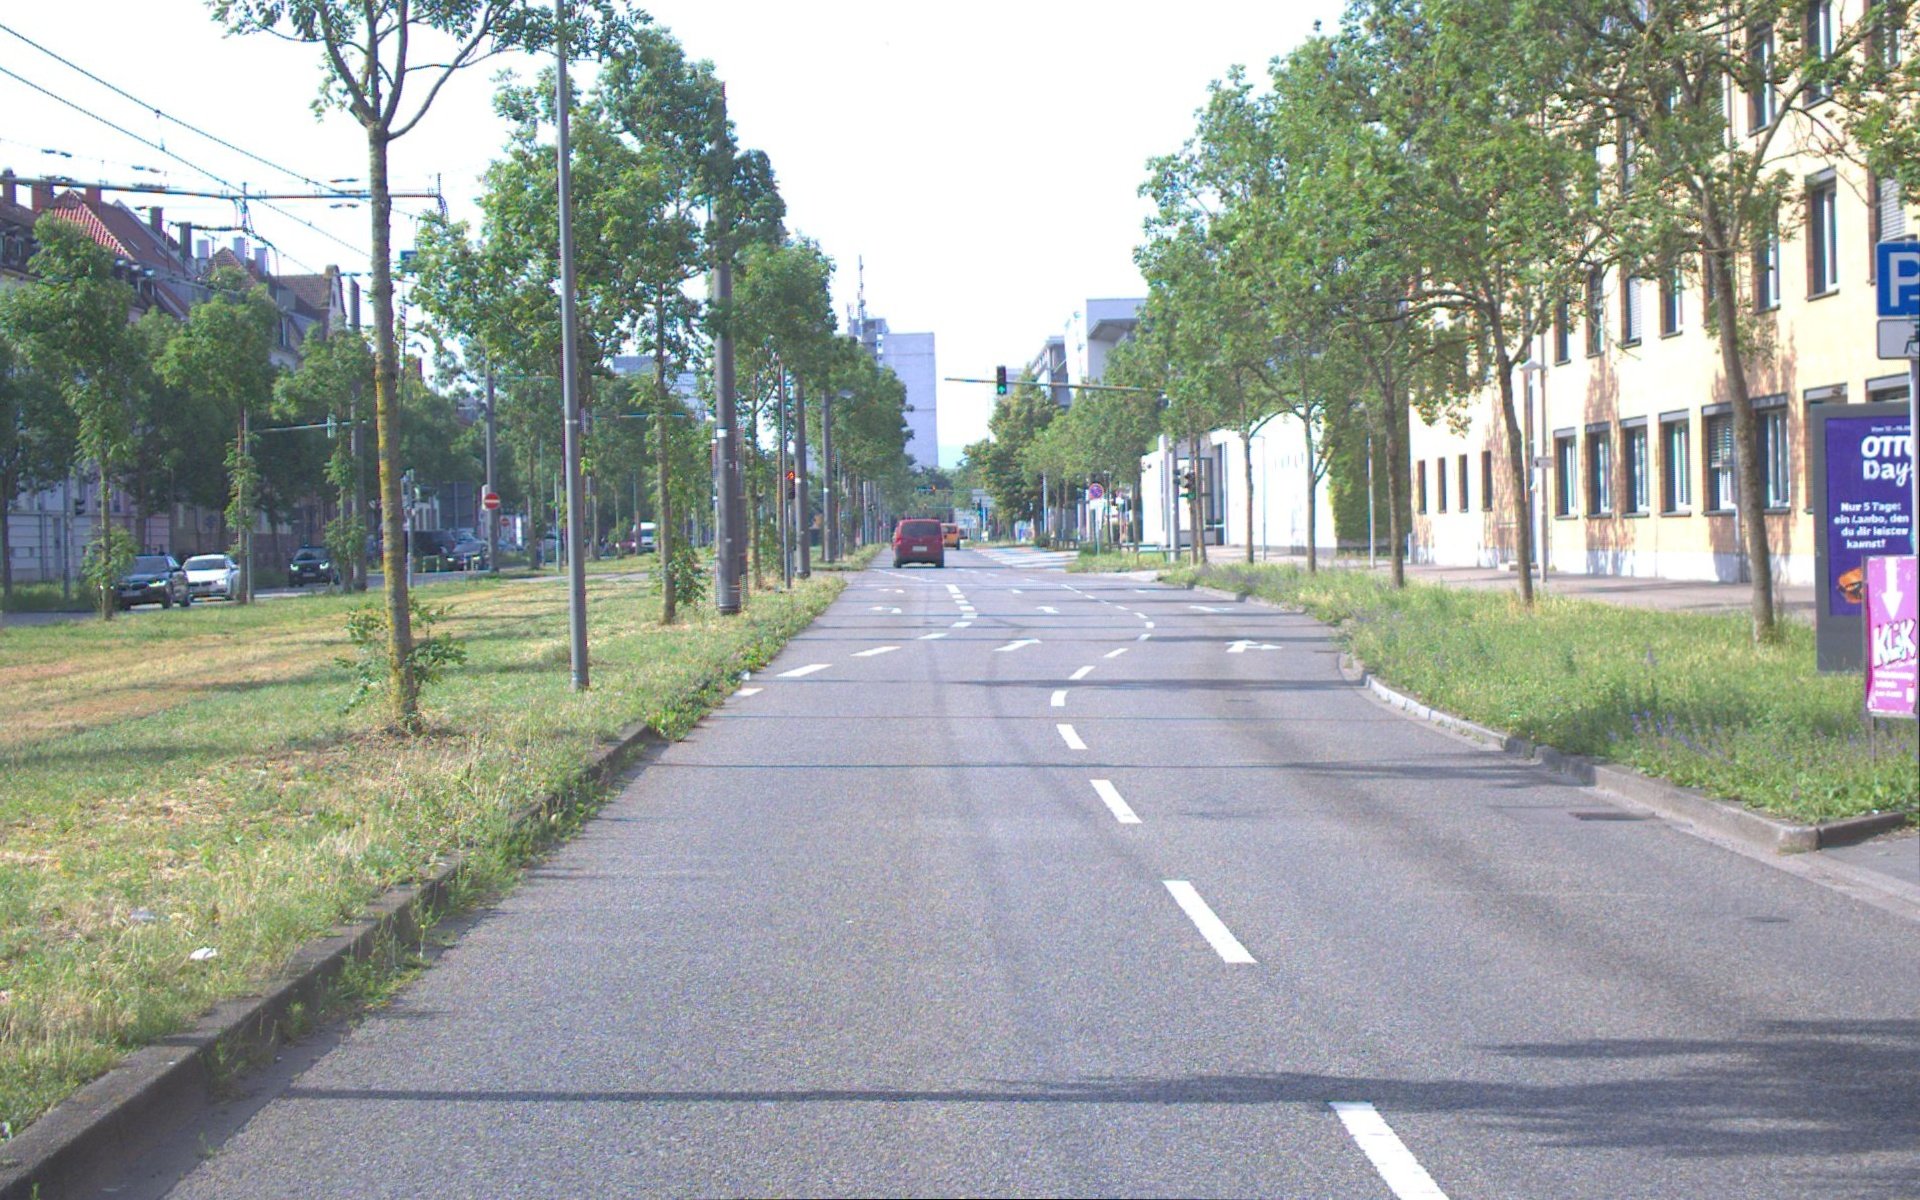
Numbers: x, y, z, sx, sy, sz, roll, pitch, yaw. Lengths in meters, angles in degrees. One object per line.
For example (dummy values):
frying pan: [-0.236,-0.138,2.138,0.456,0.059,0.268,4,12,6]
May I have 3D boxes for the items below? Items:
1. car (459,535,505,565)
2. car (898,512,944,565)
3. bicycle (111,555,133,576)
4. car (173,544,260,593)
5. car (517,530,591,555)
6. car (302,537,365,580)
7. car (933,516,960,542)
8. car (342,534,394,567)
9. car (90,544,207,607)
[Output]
car: [-23.642,-2.480,170.042,1.812,1.428,3.926,1,1,-2]
car: [-1.514,-2.381,134.053,1.748,2.007,3.216,1,1,0]
bicycle: [-32.614,-1.350,133.846,0.437,0.786,1.948,1,1,-2]
car: [-23.416,-1.004,108.446,1.947,1.454,4.649,1,1,-3]
car: [-29.737,-4.210,251.484,5.320,1.732,1.996,1,1,33]
car: [-24.398,-1.622,134.021,1.764,1.650,4.000,1,1,-1]
car: [-0.870,-4.586,222.830,1.748,1.645,3.216,1,1,0]
car: [-29.939,-2.520,173.900,1.993,1.623,4.776,1,1,-2]
car: [-21.830,-0.669,92.710,1.993,1.624,5.380,1,1,-2]
